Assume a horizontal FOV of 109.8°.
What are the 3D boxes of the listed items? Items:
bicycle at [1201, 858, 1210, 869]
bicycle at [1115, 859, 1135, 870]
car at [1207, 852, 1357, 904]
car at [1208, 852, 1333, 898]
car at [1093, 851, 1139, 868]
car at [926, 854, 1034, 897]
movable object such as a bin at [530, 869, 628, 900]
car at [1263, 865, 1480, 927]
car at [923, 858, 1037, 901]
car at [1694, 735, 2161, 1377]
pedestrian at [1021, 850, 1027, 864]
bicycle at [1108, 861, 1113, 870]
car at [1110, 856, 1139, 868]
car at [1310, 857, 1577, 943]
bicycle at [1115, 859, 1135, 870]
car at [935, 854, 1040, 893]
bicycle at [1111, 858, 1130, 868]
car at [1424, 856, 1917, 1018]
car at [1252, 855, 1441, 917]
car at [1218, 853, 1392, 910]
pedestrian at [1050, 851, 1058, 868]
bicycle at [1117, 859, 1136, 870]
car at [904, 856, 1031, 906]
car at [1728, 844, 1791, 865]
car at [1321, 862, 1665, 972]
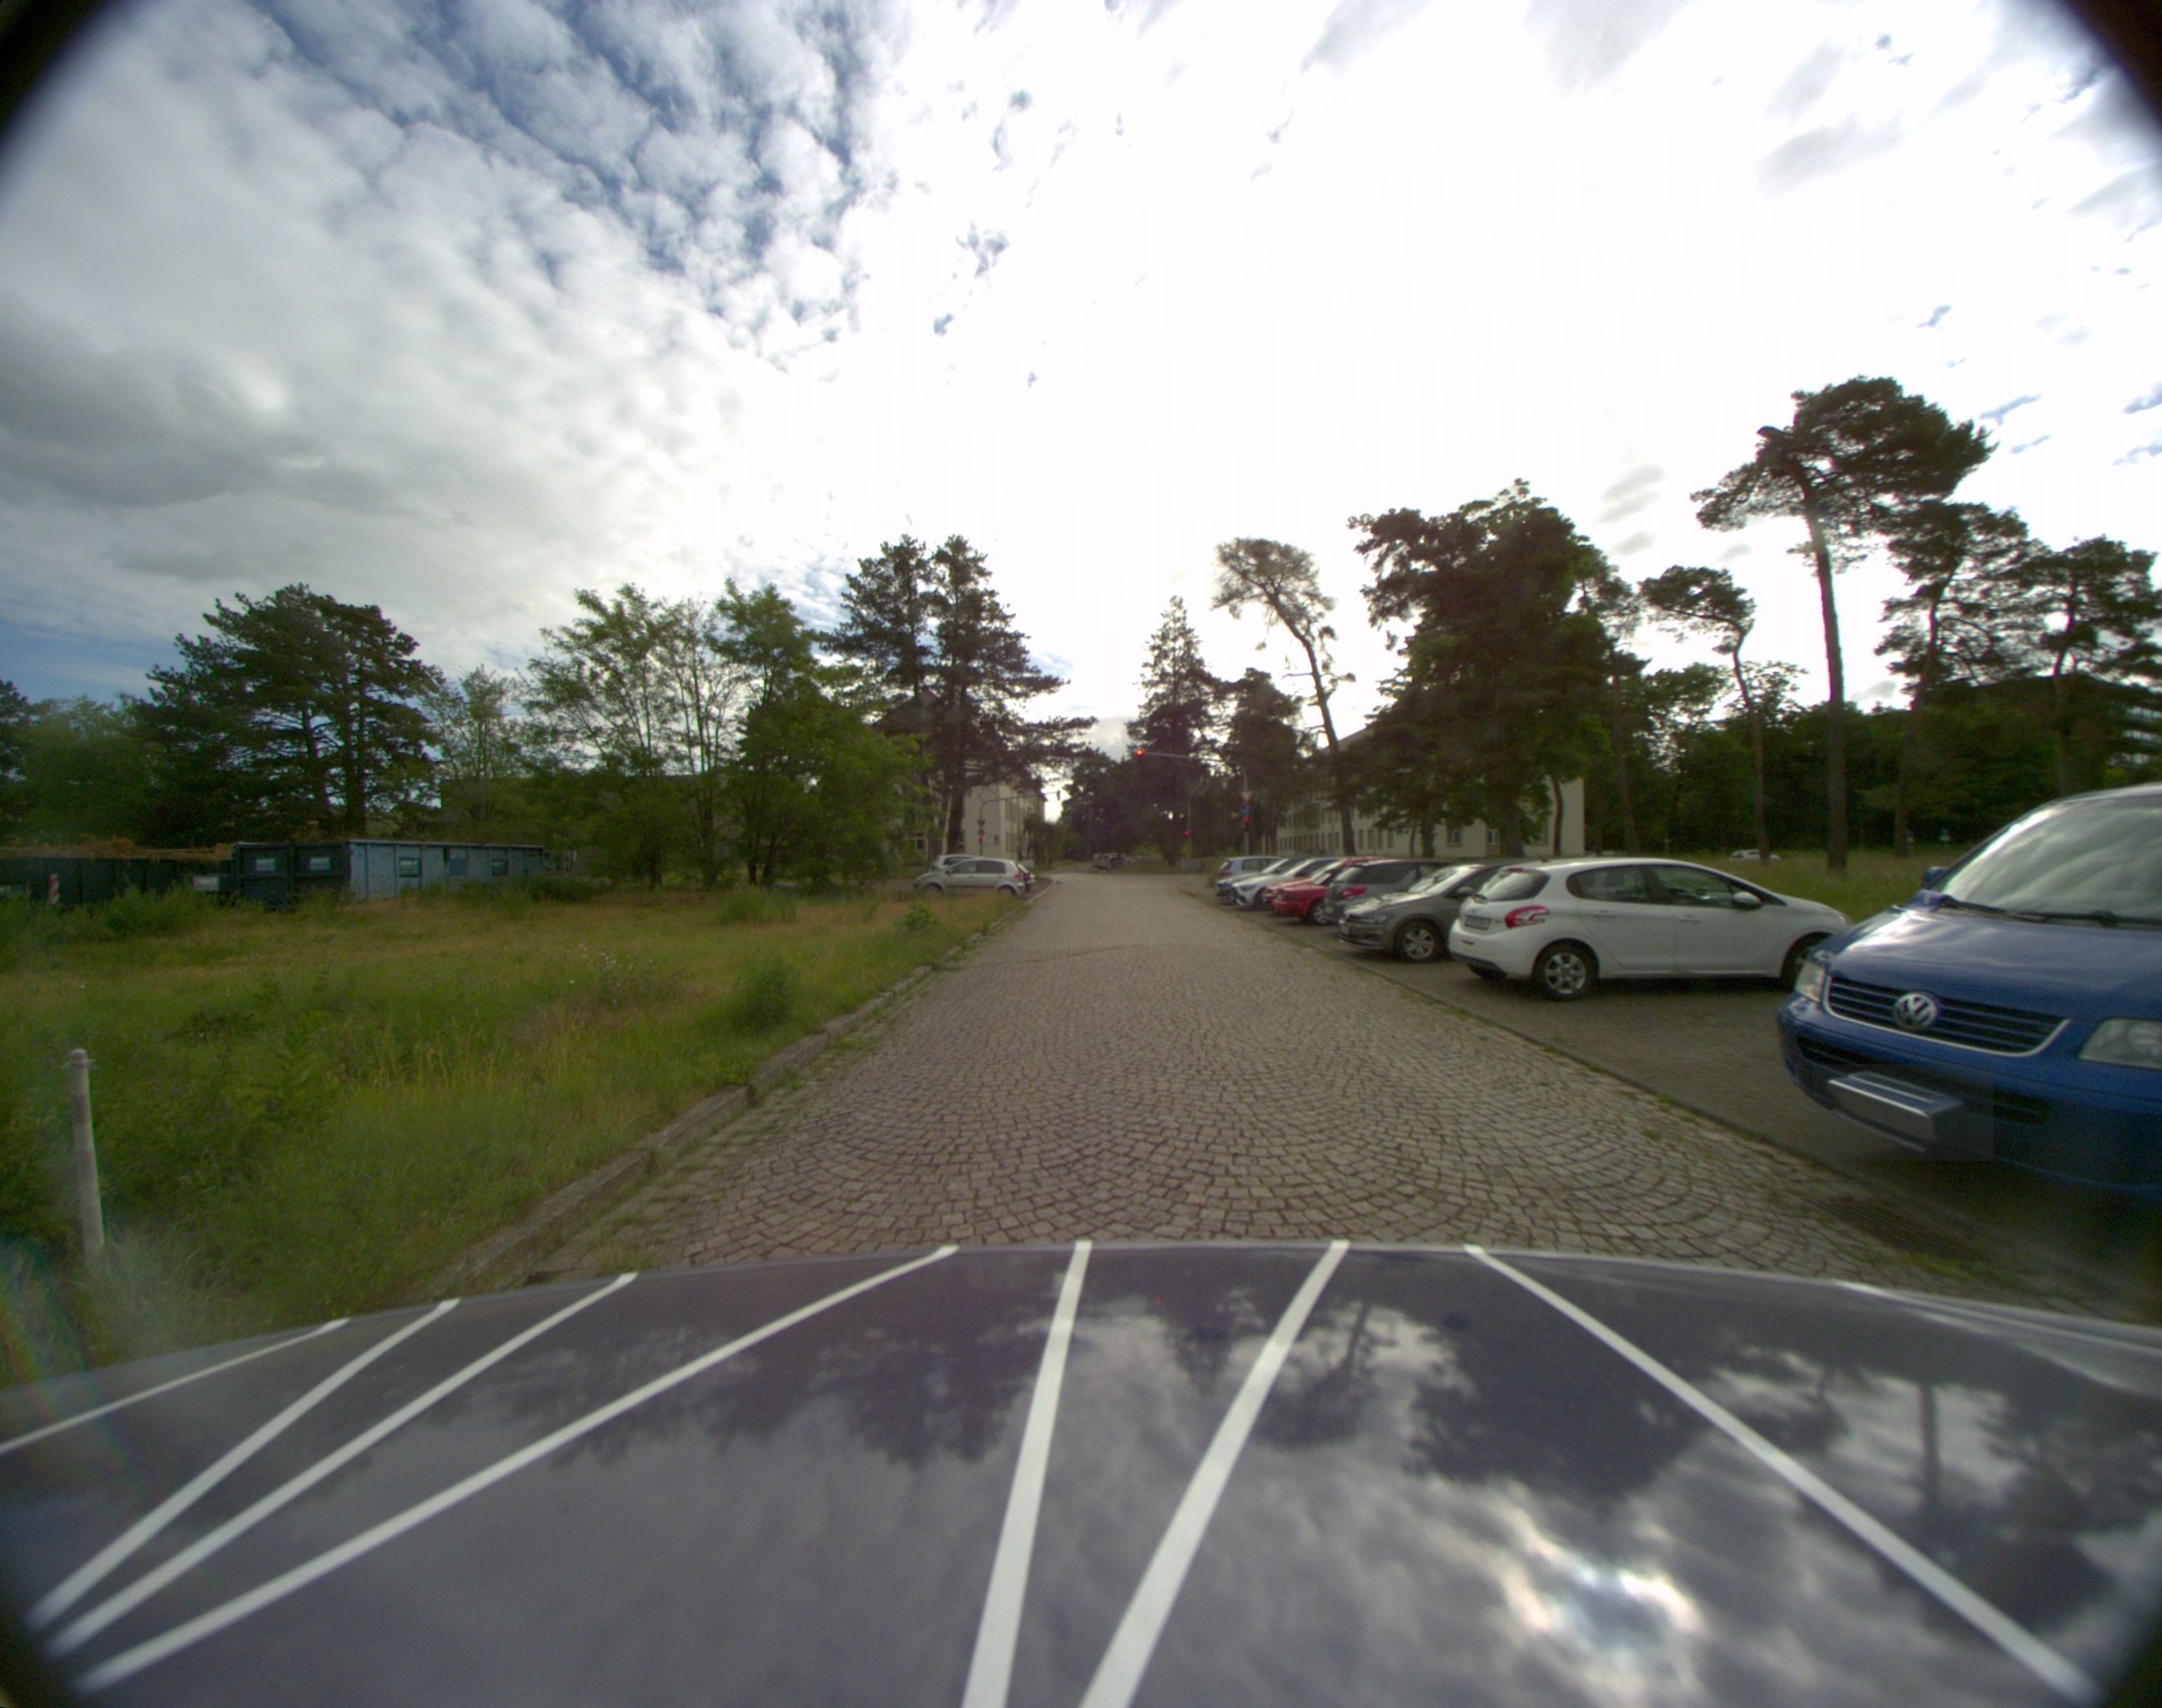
[{"bbox_3d":[10.375,0.803,63.258,0.294,0.910,1.052,-1,0,-20],"label":"bicycle"},{"bbox_3d":[4.444,1.037,76.530,1.950,1.104,0.562,-1,0,-1],"label":"bicycle"},{"bbox_3d":[6.384,0.744,24.470,4.261,1.539,1.935,-1,0,-2],"label":"car"},{"bbox_3d":[6.708,0.722,27.194,3.997,1.534,1.905,-1,0,0],"label":"car"},{"bbox_3d":[4.282,0.689,94.412,5.366,1.987,2.289,-1,0,-7],"label":"car"},{"bbox_3d":[-4.167,0.864,31.832,4.251,1.587,1.885,2,0,-2],"label":"car"},{"bbox_3d":[-16.938,1.035,25.683,2.689,0.982,0.853,-1,0,-2],"label":"movable object such as a bin"},{"bbox_3d":[6.380,0.901,17.055,4.176,1.259,1.831,-1,0,2],"label":"car"},{"bbox_3d":[-3.795,0.940,29.107,4.084,1.444,1.885,2,0,-1],"label":"car"},{"bbox_3d":[5.951,0.637,3.341,4.794,2.109,2.115,-1,0,0],"label":"car"},{"bbox_3d":[-6.851,0.371,91.640,0.568,1.691,0.532,-1,0,5],"label":"pedestrian"},{"bbox_3d":[2.816,1.095,72.586,0.459,0.903,1.663,-1,0,5],"label":"bicycle"},{"bbox_3d":[5.182,0.931,90.758,3.439,1.440,1.913,-1,0,0],"label":"car"},{"bbox_3d":[6.687,0.822,14.391,4.176,1.473,1.846,-1,0,2],"label":"car"},{"bbox_3d":[4.378,1.068,75.976,1.898,1.058,0.616,-1,0,-1],"label":"bicycle"},{"bbox_3d":[-4.171,0.863,34.385,4.504,1.556,1.905,2,0,-1],"label":"car"},{"bbox_3d":[4.307,0.978,82.575,1.950,1.058,0.562,-1,0,-1],"label":"bicycle"},{"bbox_3d":[6.373,0.856,8.629,4.077,1.488,1.846,-2,0,2],"label":"car"},{"bbox_3d":[6.673,0.778,19.421,4.176,1.468,1.864,-1,0,1],"label":"car"},{"bbox_3d":[6.308,0.760,21.726,4.385,1.499,1.935,-1,0,-1],"label":"car"},{"bbox_3d":[-3.255,0.640,90.583,0.589,1.926,0.792,-1,1,-32],"label":"pedestrian"},{"bbox_3d":[4.634,1.043,77.702,1.950,1.058,0.562,-1,0,-1],"label":"bicycle"},{"bbox_3d":[-3.863,0.910,26.398,4.084,1.506,1.804,2,0,-1],"label":"car"},{"bbox_3d":[60.704,0.031,68.056,3.996,1.796,1.722,-1,0,4],"label":"car"},{"bbox_3d":[5.988,0.891,11.478,4.175,1.483,1.865,-1,0,3],"label":"car"}]
